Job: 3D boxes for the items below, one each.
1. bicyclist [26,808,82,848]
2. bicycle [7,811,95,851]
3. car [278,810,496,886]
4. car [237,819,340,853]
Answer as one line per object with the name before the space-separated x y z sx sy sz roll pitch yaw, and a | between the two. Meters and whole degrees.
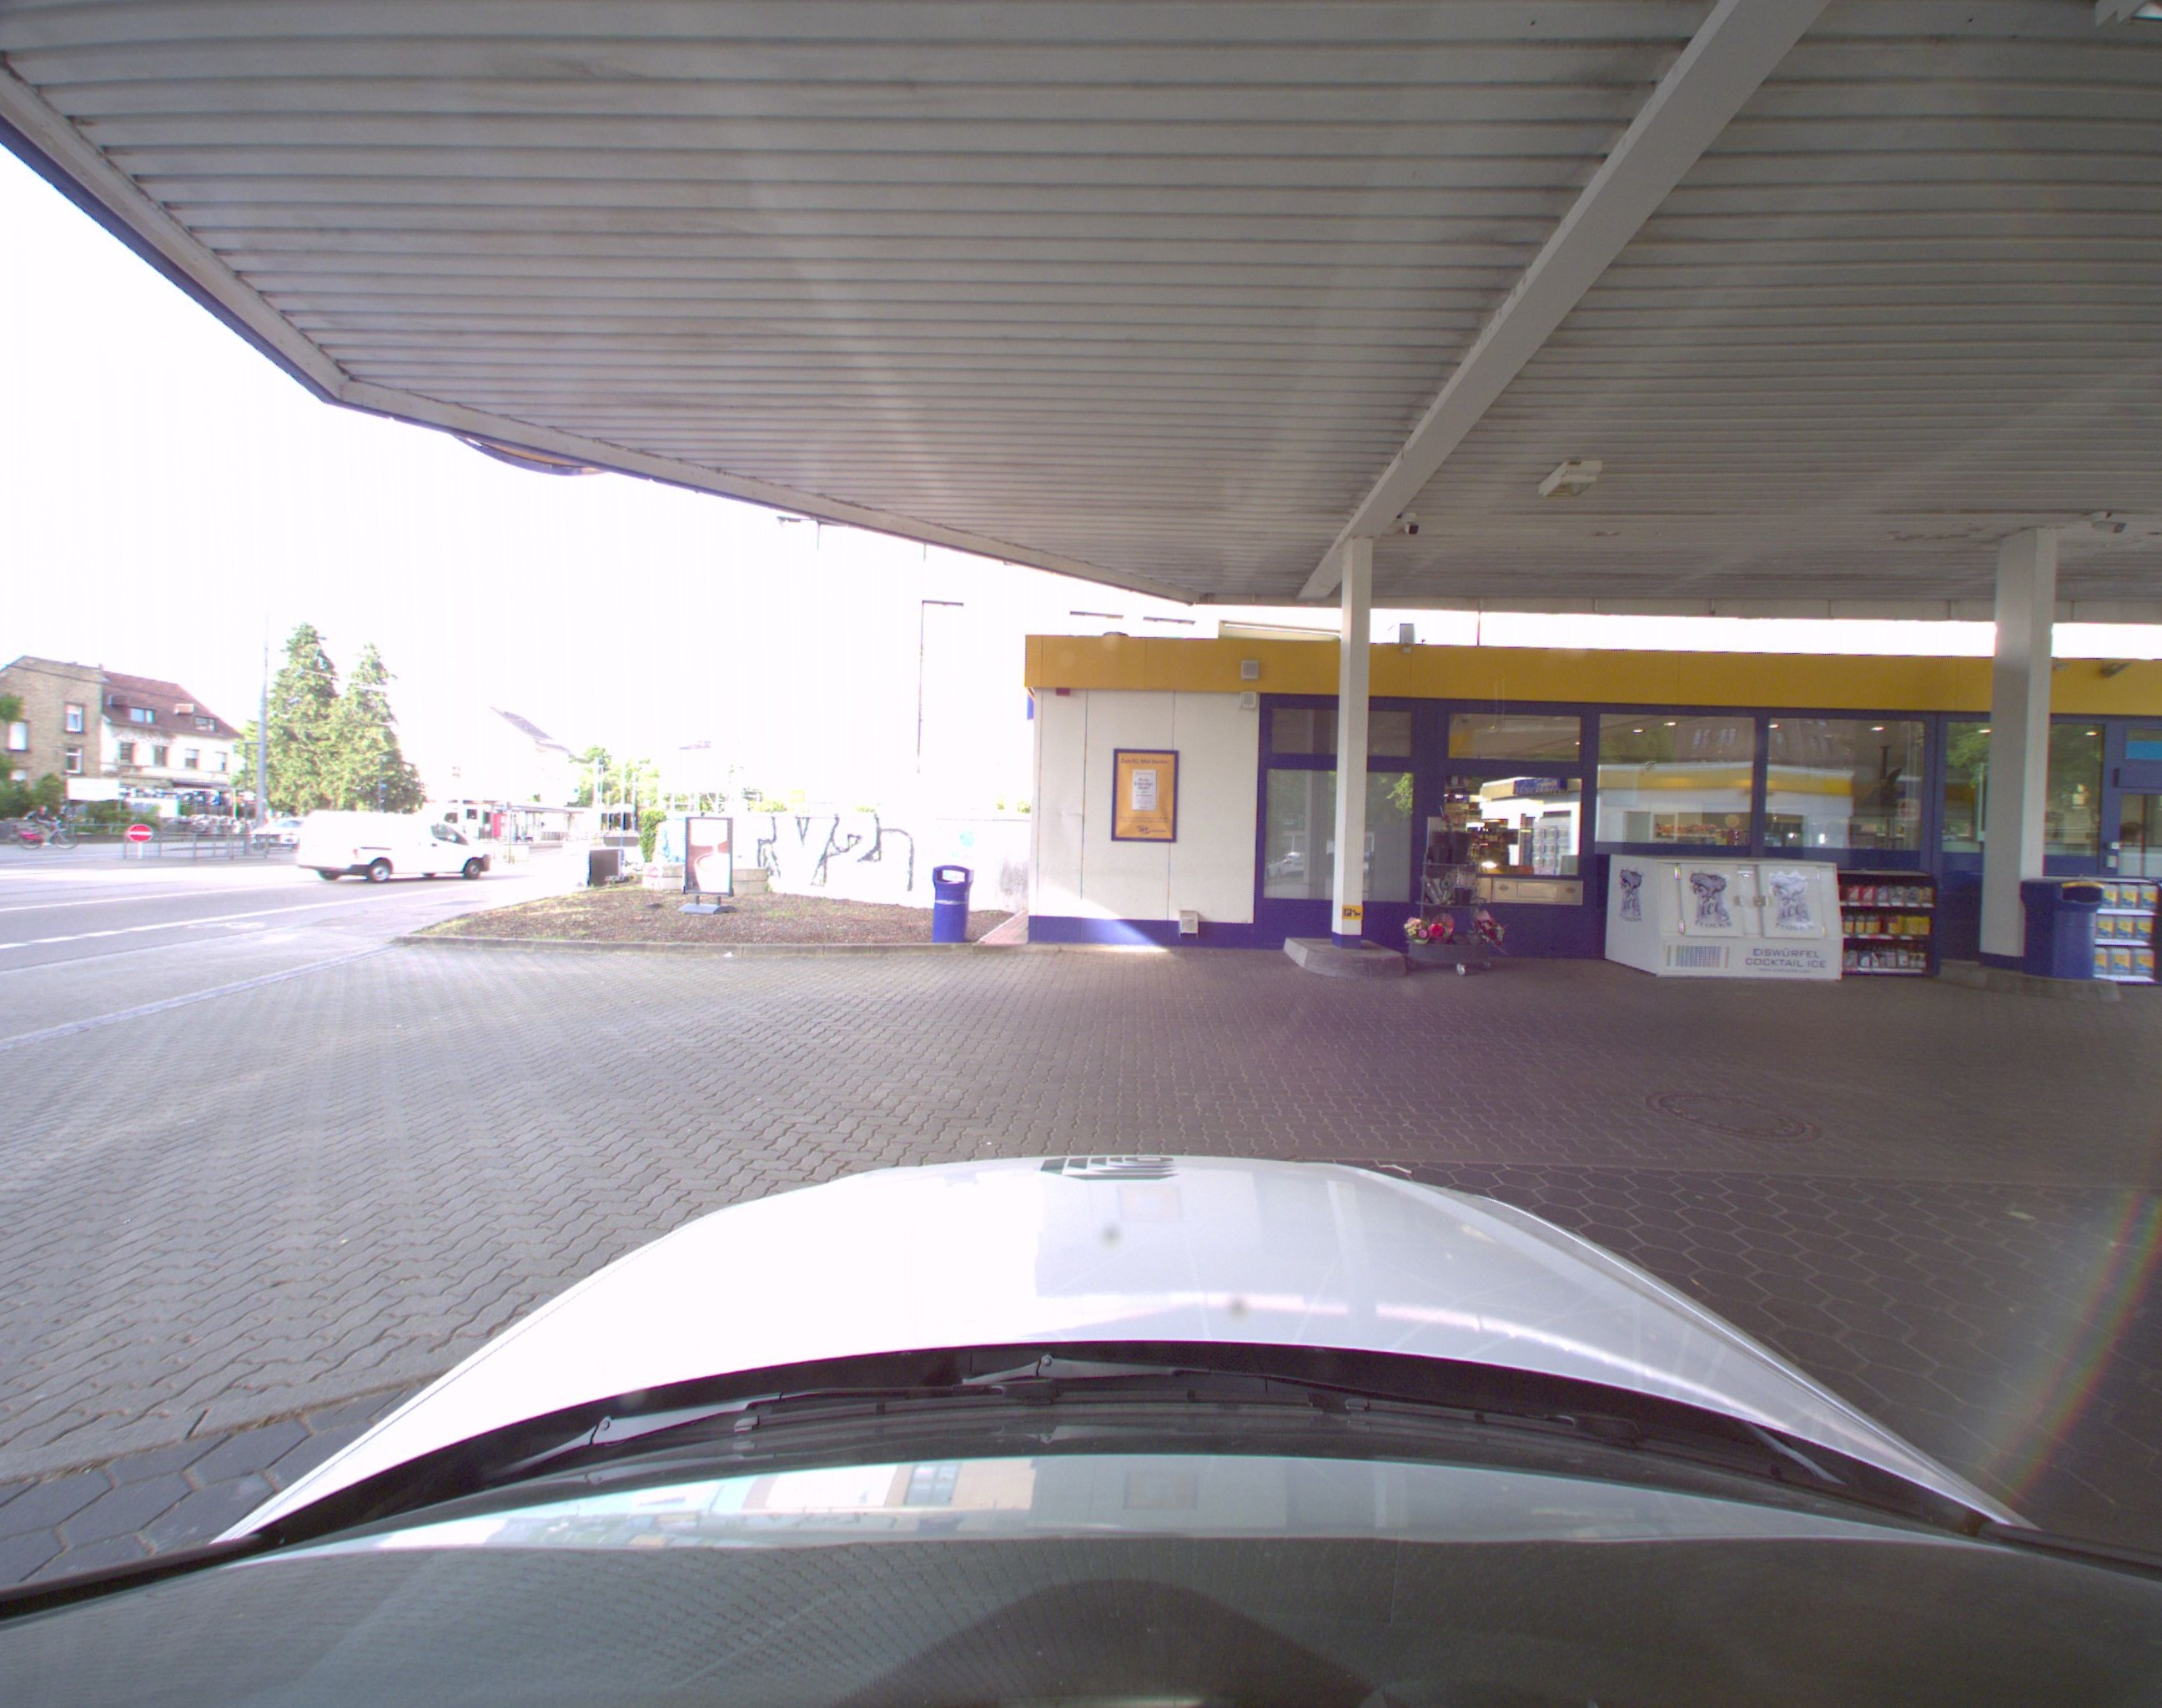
bicyclist | -41.215 -1.032 32.688 0.781 1.492 1.099 4 0 11
bicycle | -41.232 -0.898 32.638 0.781 1.492 1.998 4 0 12
car | -19.358 -0.169 23.036 1.950 1.889 4.423 1 0 10
car | -39.024 -0.941 40.245 1.840 1.576 4.356 0 2 -18
